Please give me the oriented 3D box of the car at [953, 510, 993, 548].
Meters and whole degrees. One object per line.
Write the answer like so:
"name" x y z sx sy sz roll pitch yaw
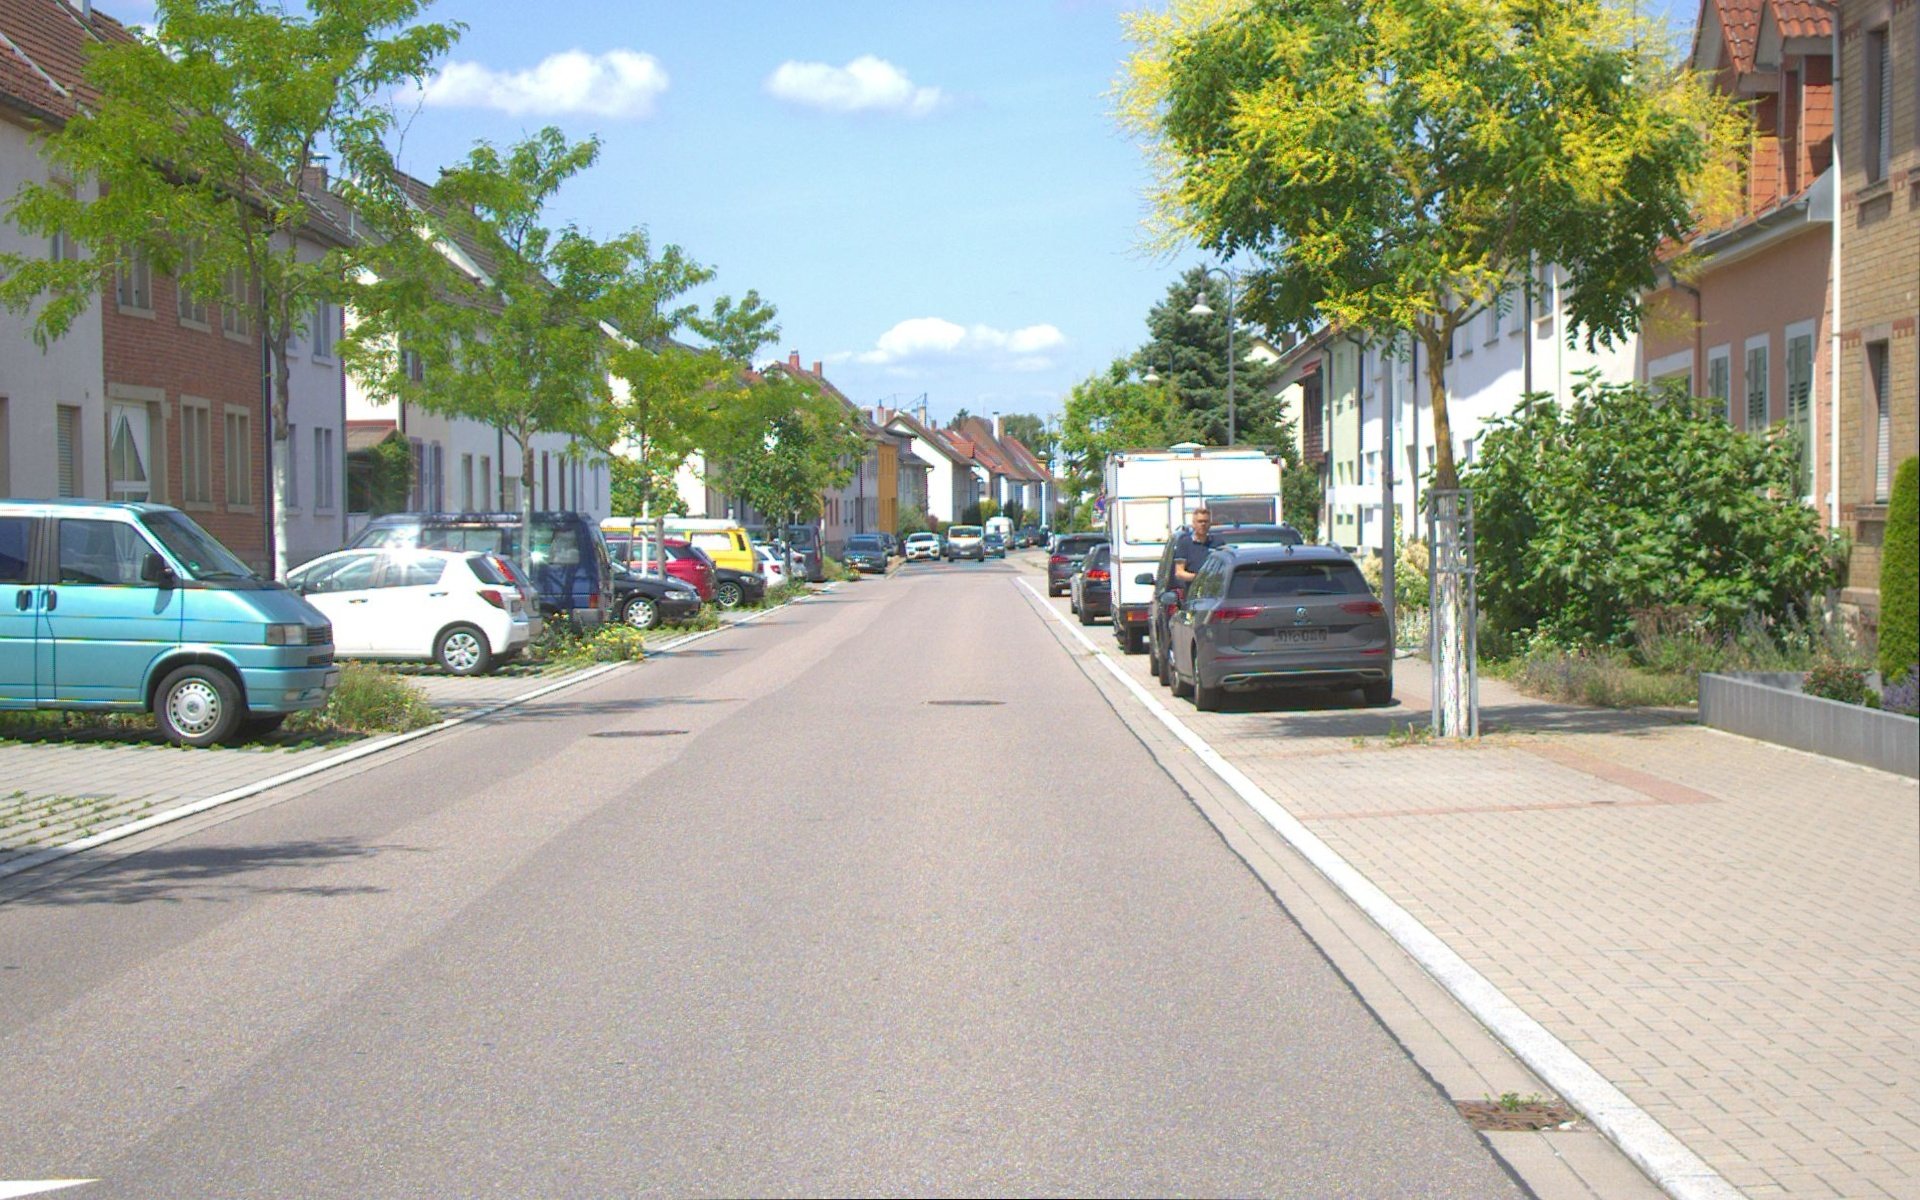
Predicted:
"car" 0.688 -3.815 185.031 2.022 1.943 4.899 -1 1 0

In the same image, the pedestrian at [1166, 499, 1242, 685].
"pedestrian" 2.450 -0.085 34.511 0.716 1.846 0.578 0 1 1

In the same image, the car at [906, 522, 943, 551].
"car" -2.025 -3.644 197.536 1.850 1.653 4.000 1 1 3

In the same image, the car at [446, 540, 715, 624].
"car" -6.633 -0.332 60.449 4.524 1.420 1.796 0 1 1

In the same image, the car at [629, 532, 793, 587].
"car" -6.801 -1.102 94.015 4.295 1.463 1.774 0 0 2

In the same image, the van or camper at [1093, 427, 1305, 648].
"van or camper" 3.228 -0.896 47.751 2.473 2.800 5.791 -2 1 0

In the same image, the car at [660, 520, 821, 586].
"car" -6.584 -1.418 103.646 4.700 1.916 1.938 1 0 1

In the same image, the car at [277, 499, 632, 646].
"car" -7.020 -0.401 48.011 4.613 1.989 1.953 0 1 3

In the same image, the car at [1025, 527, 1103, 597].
"car" 2.747 -1.011 89.953 1.864 1.630 4.446 -3 2 3

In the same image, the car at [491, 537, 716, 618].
"car" -6.624 -0.422 64.207 4.053 1.473 1.776 0 1 -2

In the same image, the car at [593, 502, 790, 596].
"car" -6.331 -1.219 81.402 4.508 2.170 1.925 0 1 1

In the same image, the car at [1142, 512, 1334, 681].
"car" 2.943 -0.077 37.127 1.767 1.699 4.325 0 1 1

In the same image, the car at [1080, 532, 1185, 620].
"car" 3.100 -0.461 62.415 1.767 1.524 4.007 0 1 1

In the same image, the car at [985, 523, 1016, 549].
"car" 2.497 -3.952 212.665 1.762 1.517 4.049 -2 1 0

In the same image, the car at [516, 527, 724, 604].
"car" -7.243 -0.744 73.565 4.253 1.606 1.843 0 1 0

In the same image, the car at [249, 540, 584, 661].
"car" -6.849 -0.013 43.584 3.916 1.483 1.772 0 1 3

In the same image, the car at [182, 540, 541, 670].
"car" -7.078 0.041 40.880 3.916 1.483 1.772 0 1 3

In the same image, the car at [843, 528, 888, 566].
"car" -4.104 -2.299 148.663 1.816 1.428 4.140 3 2 -2

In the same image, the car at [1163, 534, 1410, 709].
"car" 2.931 0.142 31.666 1.767 1.483 4.297 -1 1 -1

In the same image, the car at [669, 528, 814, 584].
"car" -6.394 -1.280 100.888 4.182 1.563 1.774 1 0 -3

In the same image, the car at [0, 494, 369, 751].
"car" -7.163 0.141 26.936 4.677 1.900 2.000 1 0 1

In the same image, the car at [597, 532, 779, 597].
"car" -6.222 -0.827 78.966 4.010 1.454 1.755 0 1 1
